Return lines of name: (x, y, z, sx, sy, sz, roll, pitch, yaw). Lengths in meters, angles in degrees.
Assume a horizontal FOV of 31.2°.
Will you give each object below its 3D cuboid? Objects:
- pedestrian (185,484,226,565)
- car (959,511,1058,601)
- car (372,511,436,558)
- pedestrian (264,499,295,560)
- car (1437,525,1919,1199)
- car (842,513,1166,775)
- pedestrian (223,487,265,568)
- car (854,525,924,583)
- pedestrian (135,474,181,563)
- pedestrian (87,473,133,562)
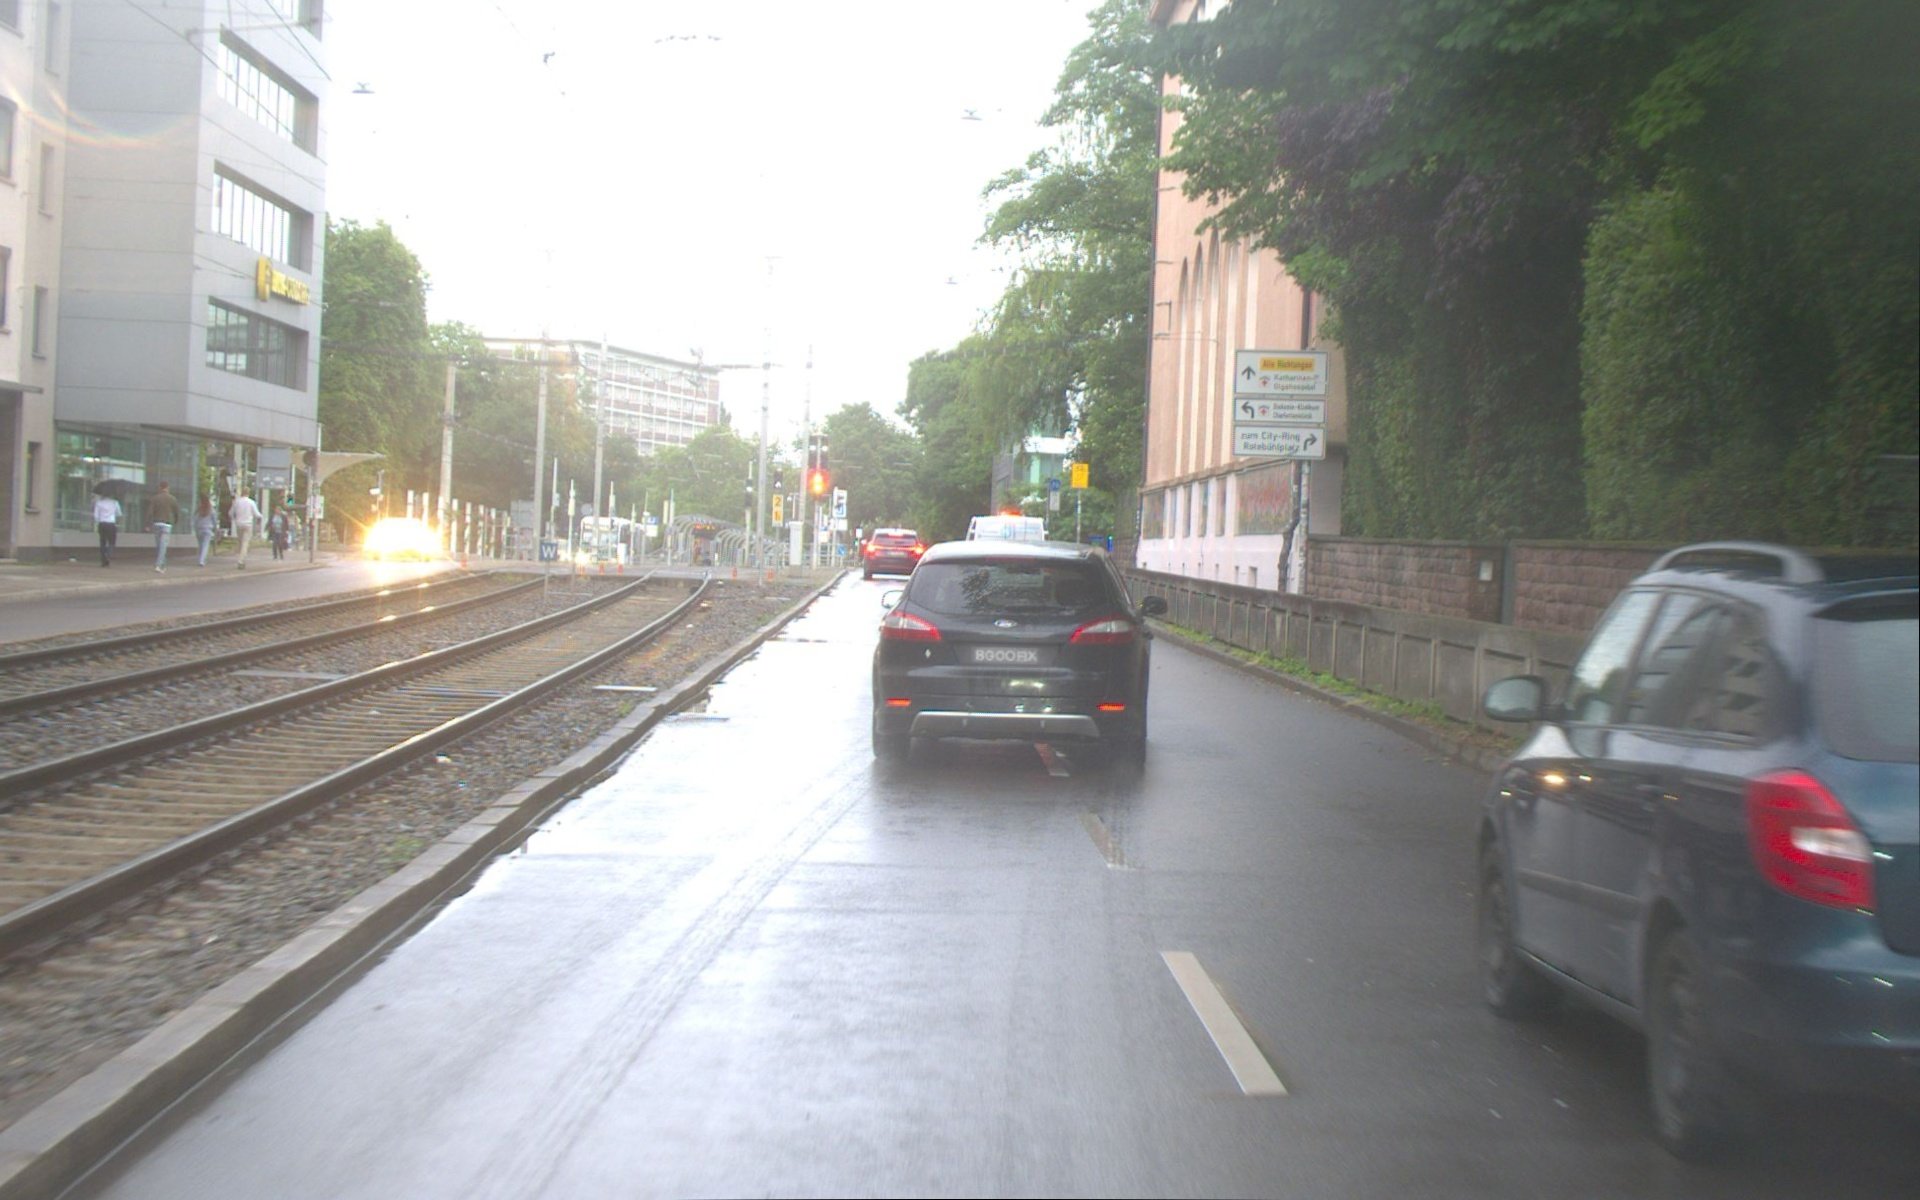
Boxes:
pedestrian: (-17.622, -1.755, 80.296, 0.744, 1.847, 0.839, 2, -1, -2)
car: (1.025, -0.927, 74.395, 1.993, 1.810, 4.271, 2, 0, 0)
car: (-18.421, -2.180, 113.950, 1.993, 1.437, 4.001, 3, 1, -9)
pedestrian: (-20.895, -2.158, 105.510, 0.744, 1.847, 0.839, 2, -1, -2)
car: (2.498, 0.592, 9.428, 1.642, 1.510, 4.039, 3, 1, -2)
car: (0.265, 0.290, 23.869, 1.993, 1.588, 4.271, 2, 0, 0)
pedestrian: (-16.727, -1.683, 80.340, 0.744, 1.847, 0.839, 2, -1, -2)
car: (-2.118, -1.377, 103.550, 1.993, 1.588, 4.271, 2, 0, 0)
pedestrian: (-17.229, -1.750, 73.851, 0.744, 1.847, 0.839, 2, -1, -2)
pedestrian: (-18.260, -1.766, 73.854, 0.744, 1.847, 0.839, 2, -1, -2)
